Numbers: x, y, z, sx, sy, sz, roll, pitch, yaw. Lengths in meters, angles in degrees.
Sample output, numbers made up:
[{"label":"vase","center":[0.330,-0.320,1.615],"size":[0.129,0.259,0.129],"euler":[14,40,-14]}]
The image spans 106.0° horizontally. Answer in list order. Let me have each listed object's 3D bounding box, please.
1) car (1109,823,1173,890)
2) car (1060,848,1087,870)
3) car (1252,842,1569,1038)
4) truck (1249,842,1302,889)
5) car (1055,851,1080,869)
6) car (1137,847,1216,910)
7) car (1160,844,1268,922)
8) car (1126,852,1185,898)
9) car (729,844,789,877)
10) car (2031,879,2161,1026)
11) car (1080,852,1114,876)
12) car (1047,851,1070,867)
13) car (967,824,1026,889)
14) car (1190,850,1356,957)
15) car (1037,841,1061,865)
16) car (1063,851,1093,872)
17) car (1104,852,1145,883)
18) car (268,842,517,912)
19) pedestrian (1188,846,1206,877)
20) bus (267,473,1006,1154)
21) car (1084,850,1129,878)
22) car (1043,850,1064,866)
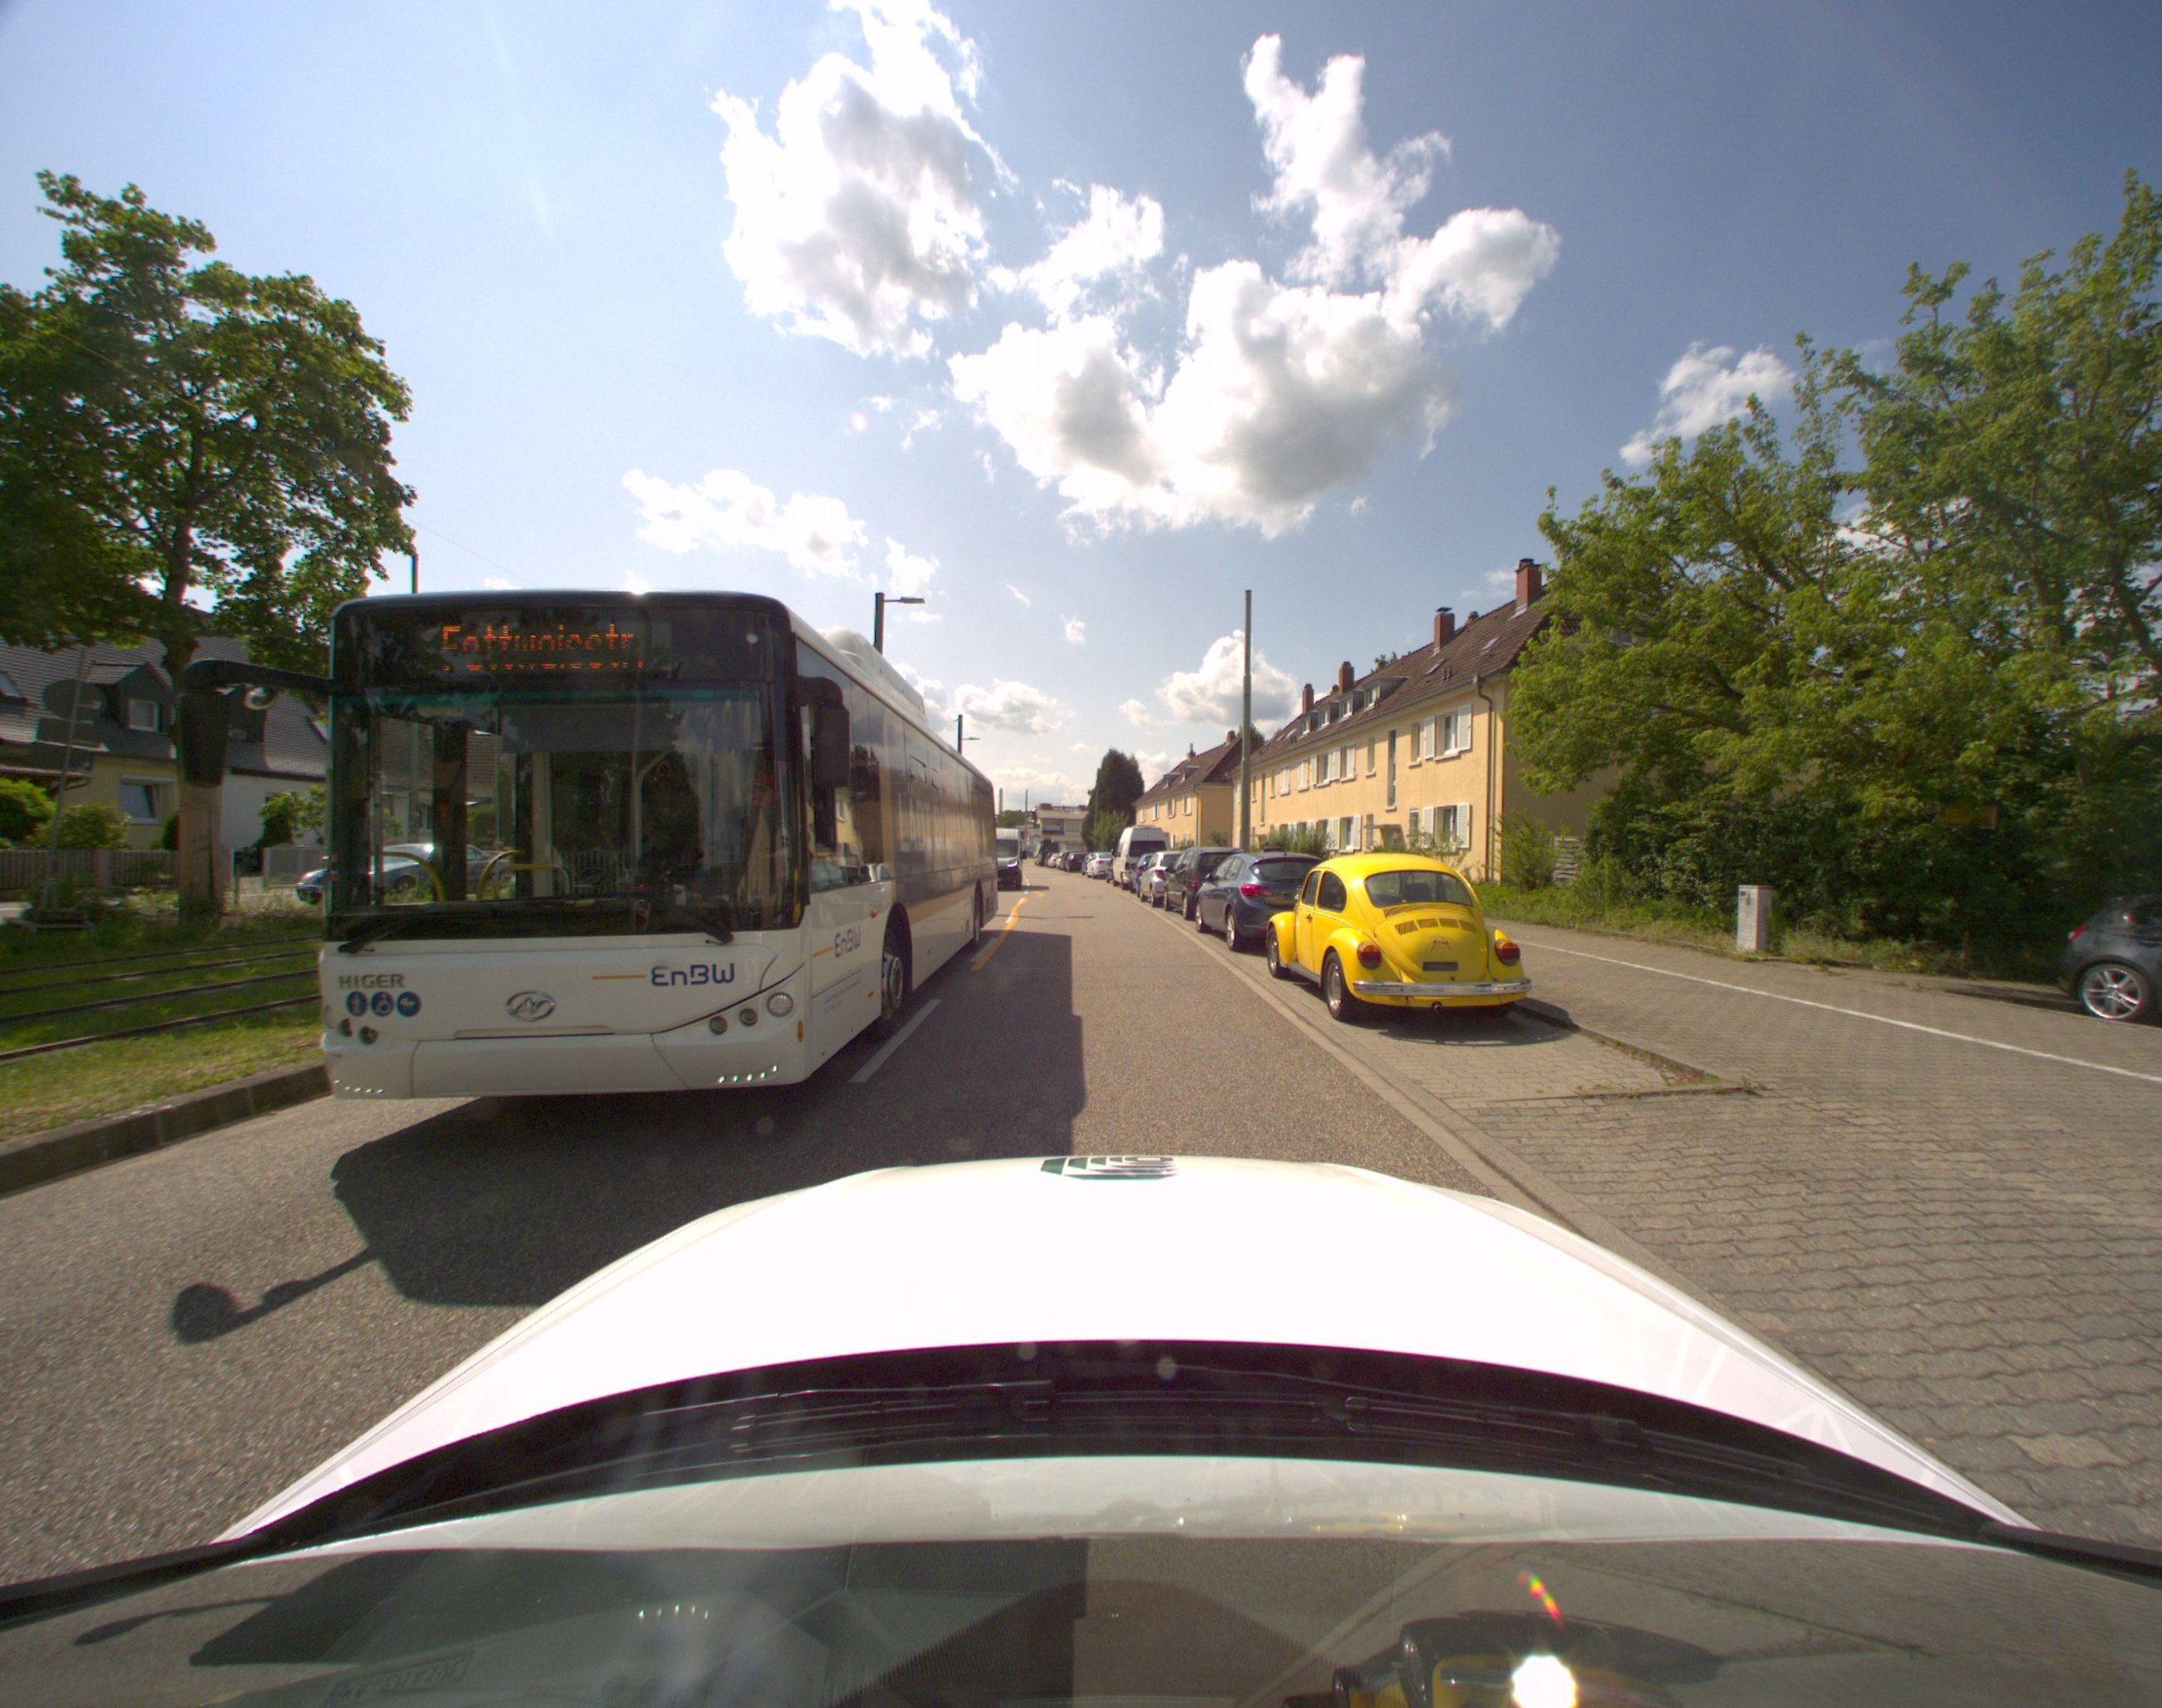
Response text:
[{"label":"car","center":[2.348,0.089,33.244],"size":[1.925,2.481,5.511],"euler":[0,0,-3]},{"label":"car","center":[-0.632,0.380,65.362],"size":[1.762,1.643,3.991],"euler":[-1,0,-7]},{"label":"car","center":[3.000,0.645,8.344],"size":[1.631,1.482,3.931],"euler":[-2,1,0]},{"label":"truck","center":[7.405,0.428,31.121],"size":[1.343,1.688,2.439],"euler":[1,0,-3]},{"label":"car","center":[-1.180,0.462,70.235],"size":[1.762,1.476,3.991],"euler":[-1,0,-7]},{"label":"car","center":[2.616,0.633,23.230],"size":[1.632,1.602,4.026],"euler":[1,0,-2]},{"label":"car","center":[2.996,0.603,19.081],"size":[1.633,1.602,3.926],"euler":[1,0,-4]},{"label":"car","center":[2.495,0.659,27.882],"size":[1.532,1.445,3.734],"euler":[1,0,-2]},{"label":"car","center":[-17.244,0.311,43.828],"size":[1.692,1.637,4.560],"euler":[-1,0,-5]},{"label":"car","center":[10.958,0.963,6.786],"size":[1.627,1.355,4.095],"euler":[1,0,7]},{"label":"car","center":[0.986,0.599,51.454],"size":[1.619,1.417,3.991],"euler":[-1,0,-7]},{"label":"car","center":[-2.129,0.461,76.380],"size":[1.762,1.439,3.991],"euler":[-1,0,-7]},{"label":"car","center":[-3.408,0.109,33.879],"size":[2.098,2.443,5.565],"euler":[1,0,-3]},{"label":"car","center":[2.980,0.691,13.510],"size":[1.632,1.482,4.121],"euler":[1,0,-2]},{"label":"car","center":[-3.491,-0.089,87.551],"size":[1.958,2.478,6.044],"euler":[-1,0,-8]},{"label":"car","center":[-0.248,0.525,60.238],"size":[1.762,1.417,3.991],"euler":[-1,0,-7]},{"label":"car","center":[2.018,0.625,38.115],"size":[1.340,1.340,3.279],"euler":[1,-1,-7]},{"label":"car","center":[-15.797,0.470,19.136],"size":[1.814,1.406,4.809],"euler":[1,0,-2]},{"label":"pedestrian","center":[6.209,0.388,43.683],"size":[0.851,1.652,0.636],"euler":[1,0,-2]},{"label":"bus","center":[-2.796,-0.247,10.235],"size":[2.628,3.412,12.245],"euler":[-1,0,0]},{"label":"car","center":[1.363,0.567,45.899],"size":[1.797,1.458,4.753],"euler":[-1,0,-7]},{"label":"car","center":[-2.764,0.410,81.367],"size":[1.762,1.502,3.991],"euler":[-1,0,-7]}]
